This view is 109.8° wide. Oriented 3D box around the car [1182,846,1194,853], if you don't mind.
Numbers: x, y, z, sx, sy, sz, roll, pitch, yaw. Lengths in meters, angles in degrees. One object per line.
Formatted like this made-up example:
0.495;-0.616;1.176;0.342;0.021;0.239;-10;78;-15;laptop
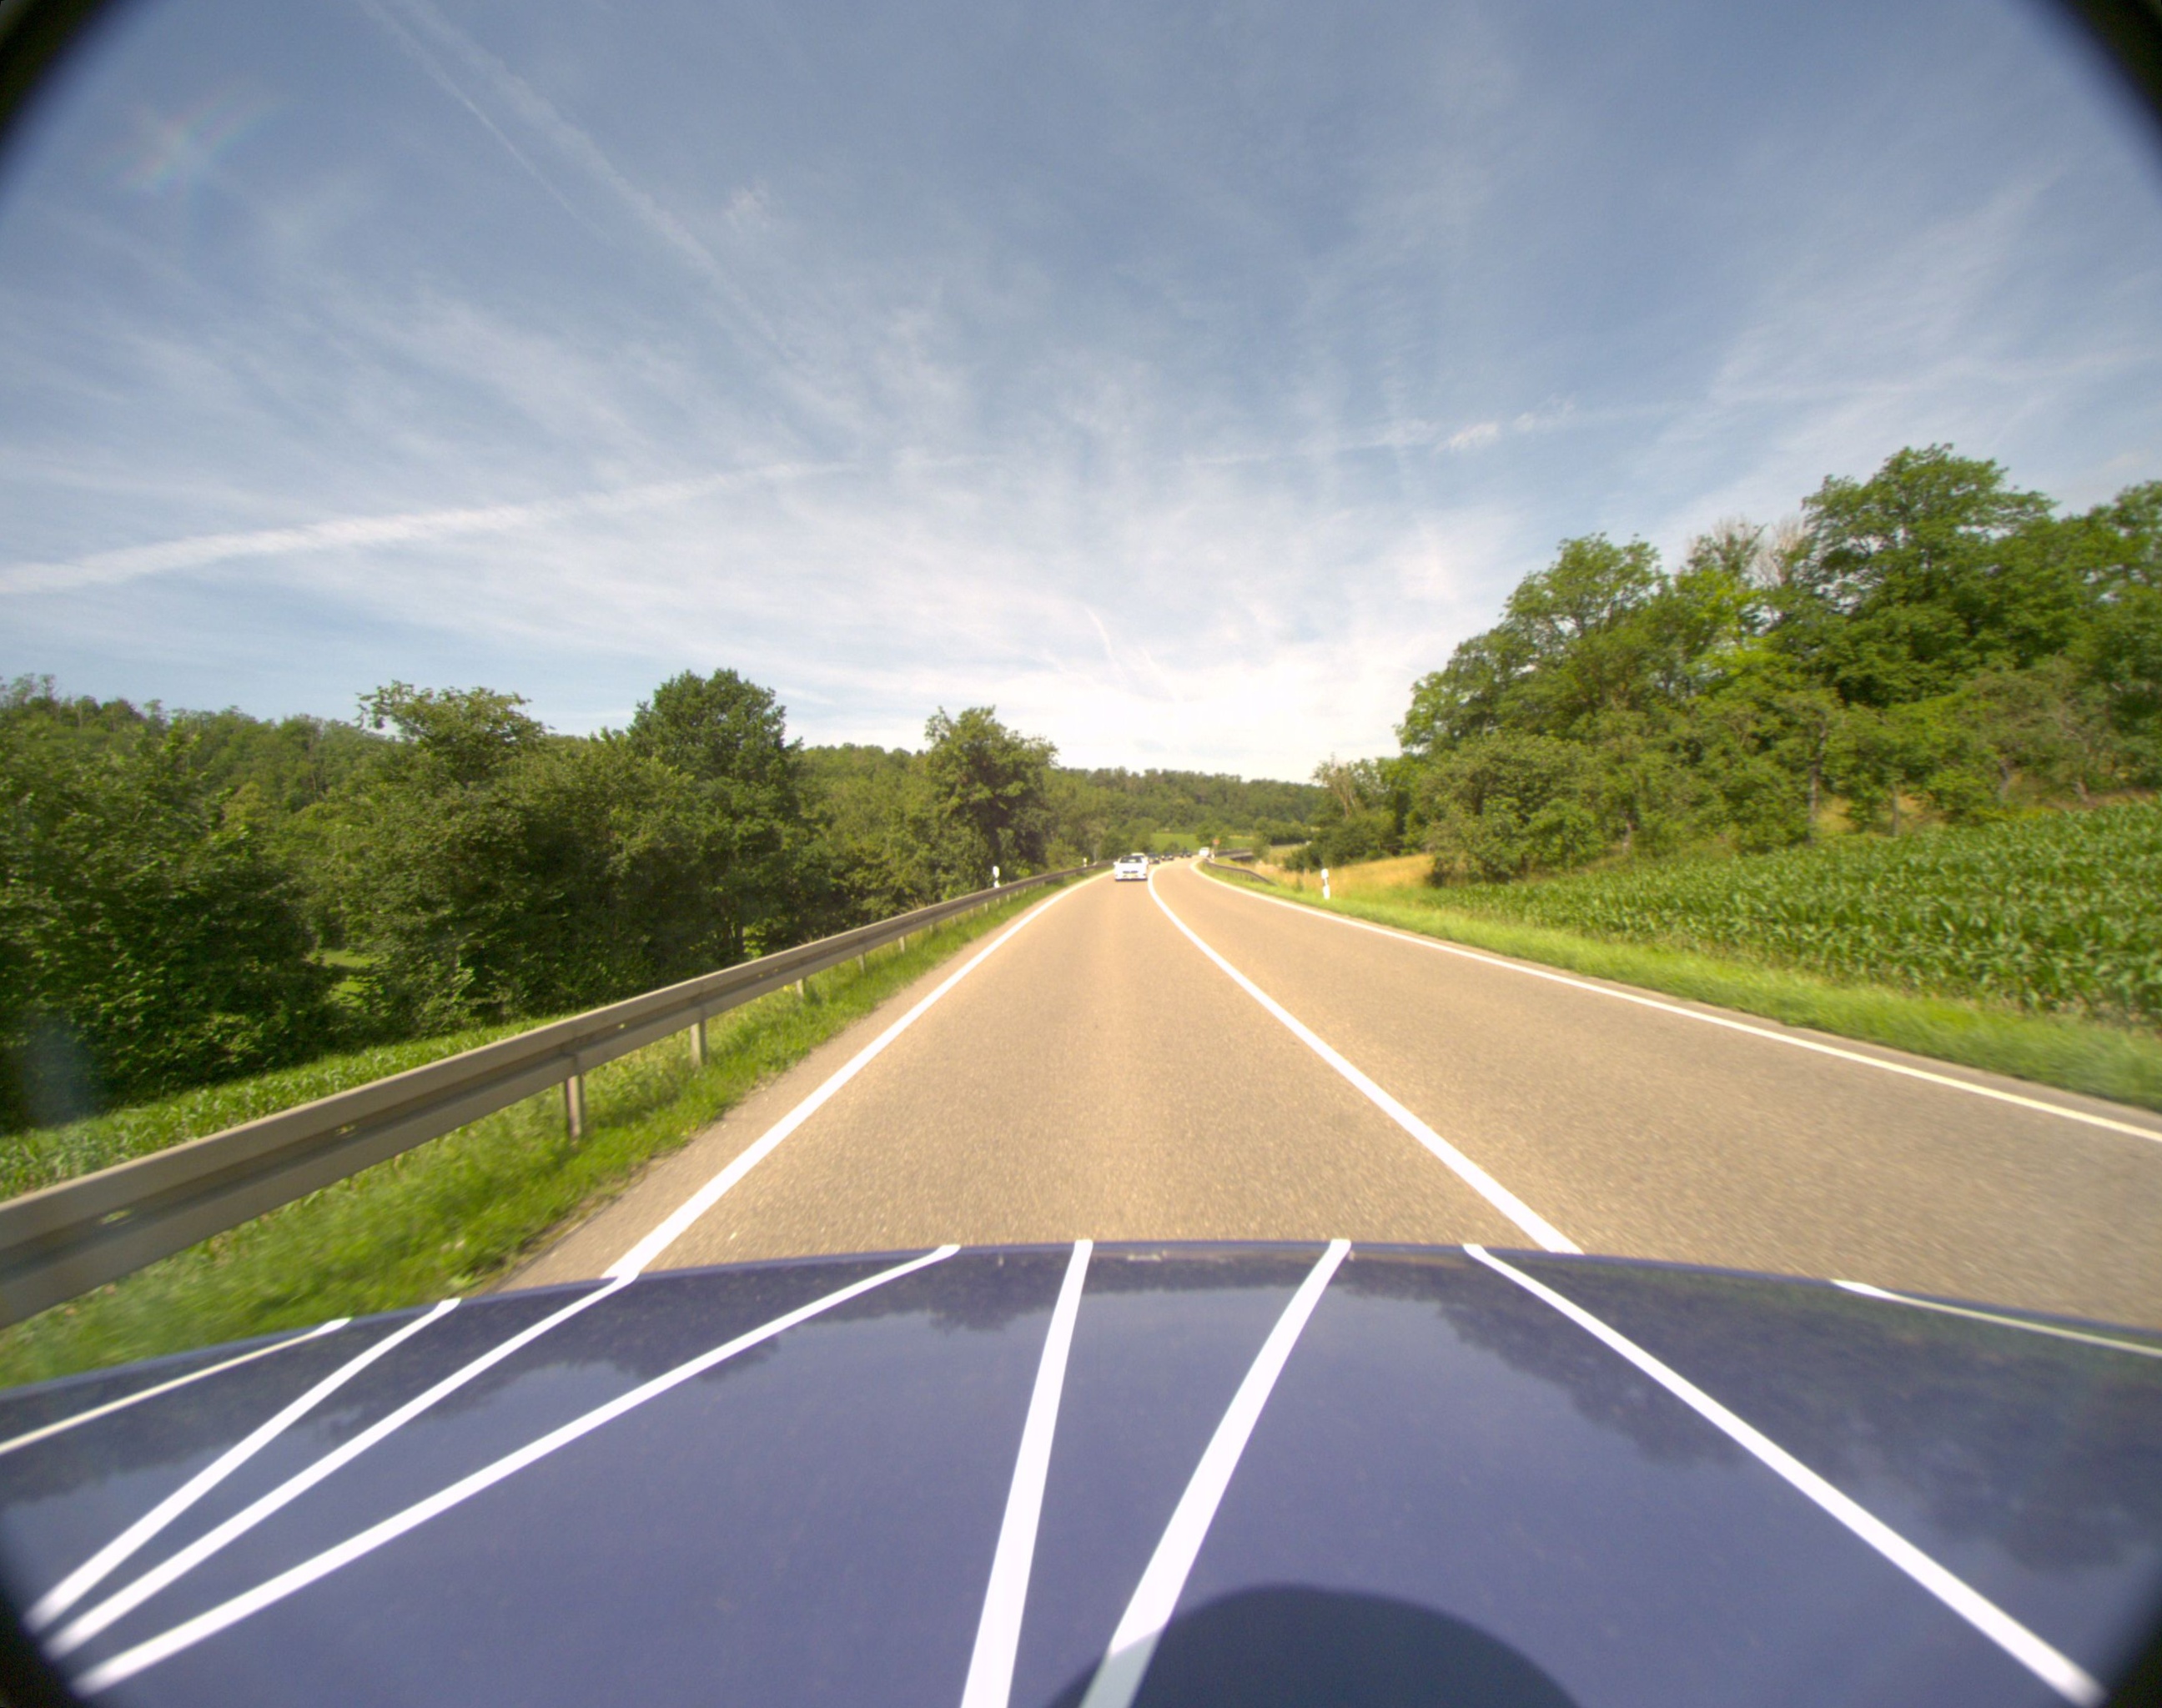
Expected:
21.773;-0.948;154.519;1.740;1.445;4.040;-1;1;18;car

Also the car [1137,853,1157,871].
6.301;0.756;72.364;1.717;1.523;4.001;-2;1;6;car

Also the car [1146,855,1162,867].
9.670;0.891;100.073;1.741;1.445;4.038;-2;1;10;car

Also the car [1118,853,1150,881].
3.093;0.729;44.407;1.742;1.445;4.036;-2;1;4;car

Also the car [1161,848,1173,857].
14.054;-0.241;123.683;1.741;1.445;4.038;-2;1;10;car
